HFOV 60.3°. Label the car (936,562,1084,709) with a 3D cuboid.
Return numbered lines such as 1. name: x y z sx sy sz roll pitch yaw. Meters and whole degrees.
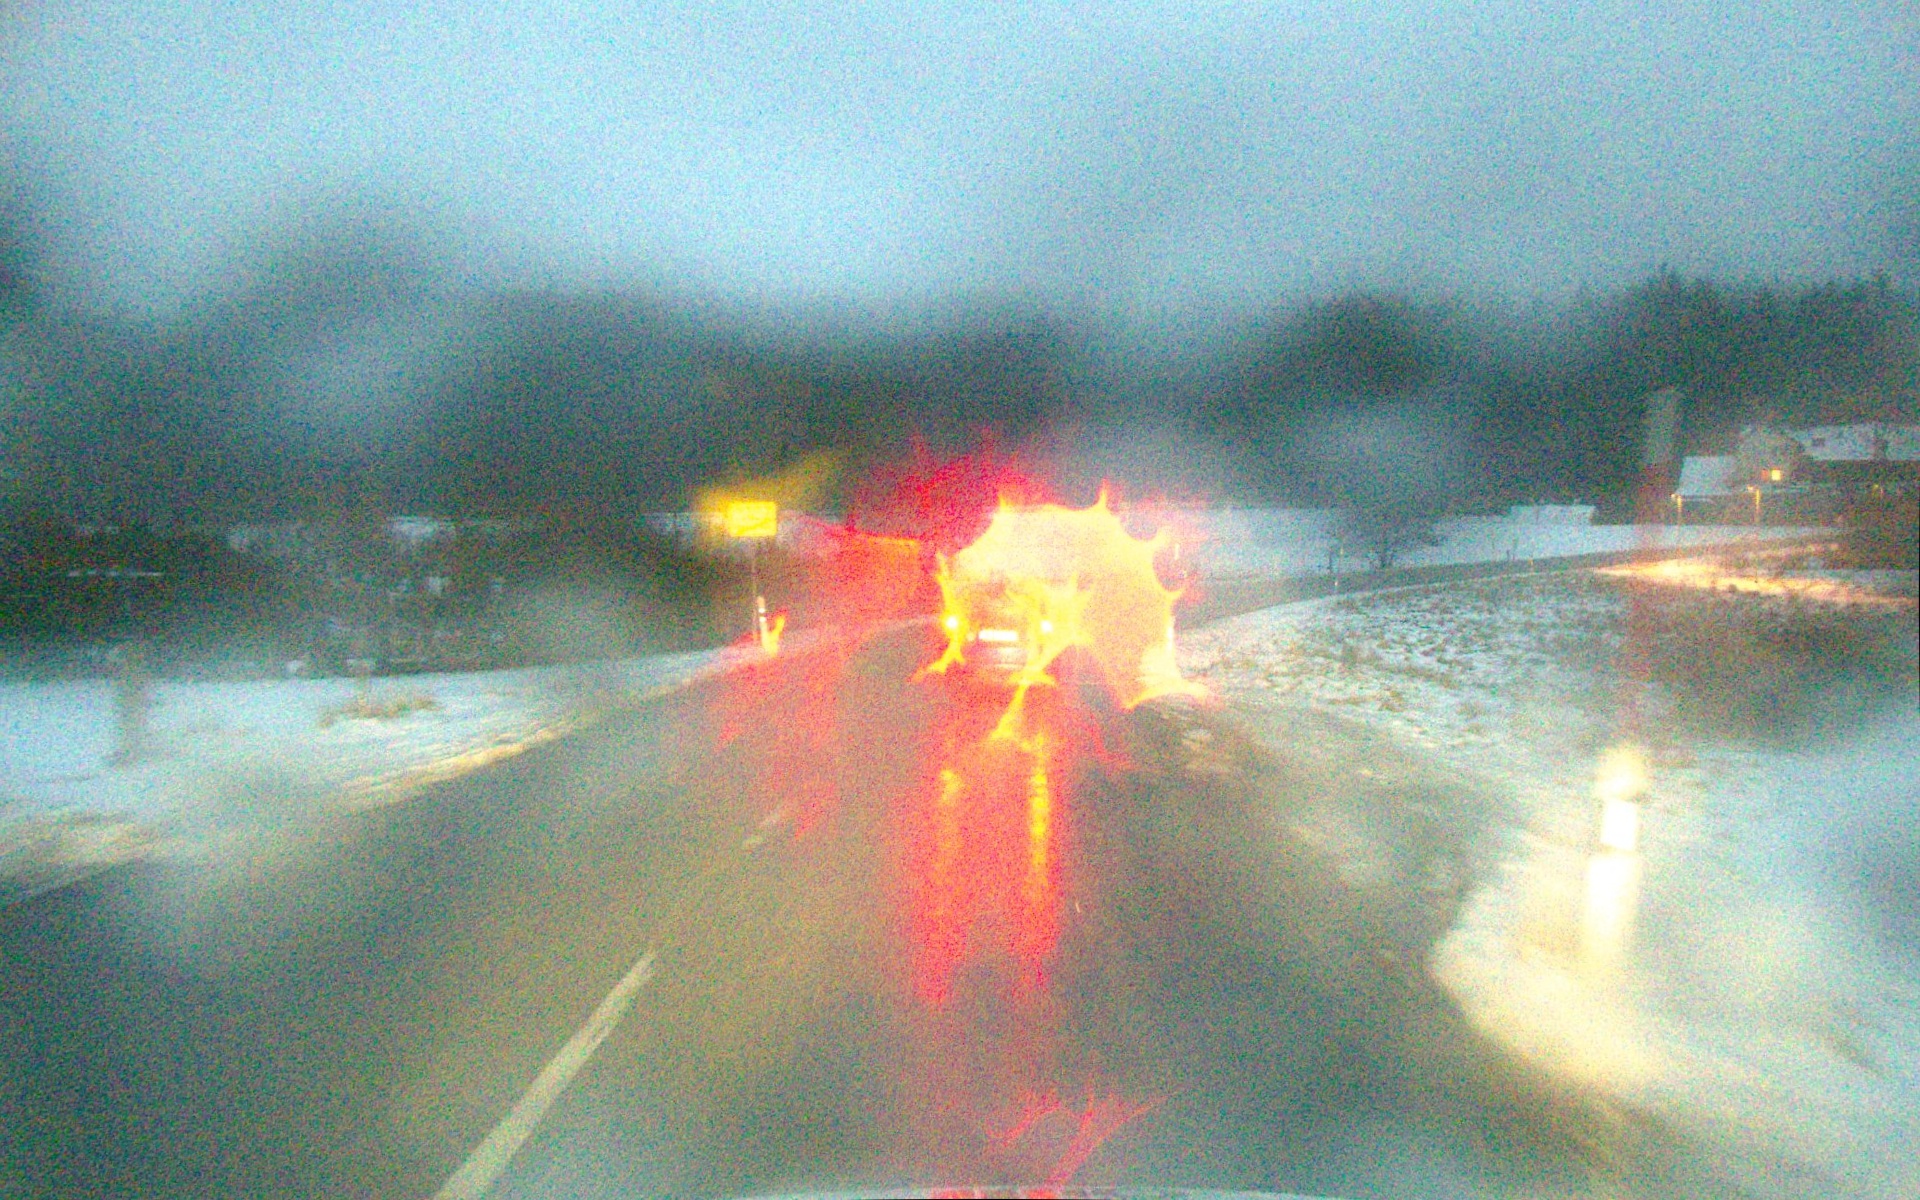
1. car: 0.631 0.470 23.444 1.786 1.828 3.576 3 0 -2
